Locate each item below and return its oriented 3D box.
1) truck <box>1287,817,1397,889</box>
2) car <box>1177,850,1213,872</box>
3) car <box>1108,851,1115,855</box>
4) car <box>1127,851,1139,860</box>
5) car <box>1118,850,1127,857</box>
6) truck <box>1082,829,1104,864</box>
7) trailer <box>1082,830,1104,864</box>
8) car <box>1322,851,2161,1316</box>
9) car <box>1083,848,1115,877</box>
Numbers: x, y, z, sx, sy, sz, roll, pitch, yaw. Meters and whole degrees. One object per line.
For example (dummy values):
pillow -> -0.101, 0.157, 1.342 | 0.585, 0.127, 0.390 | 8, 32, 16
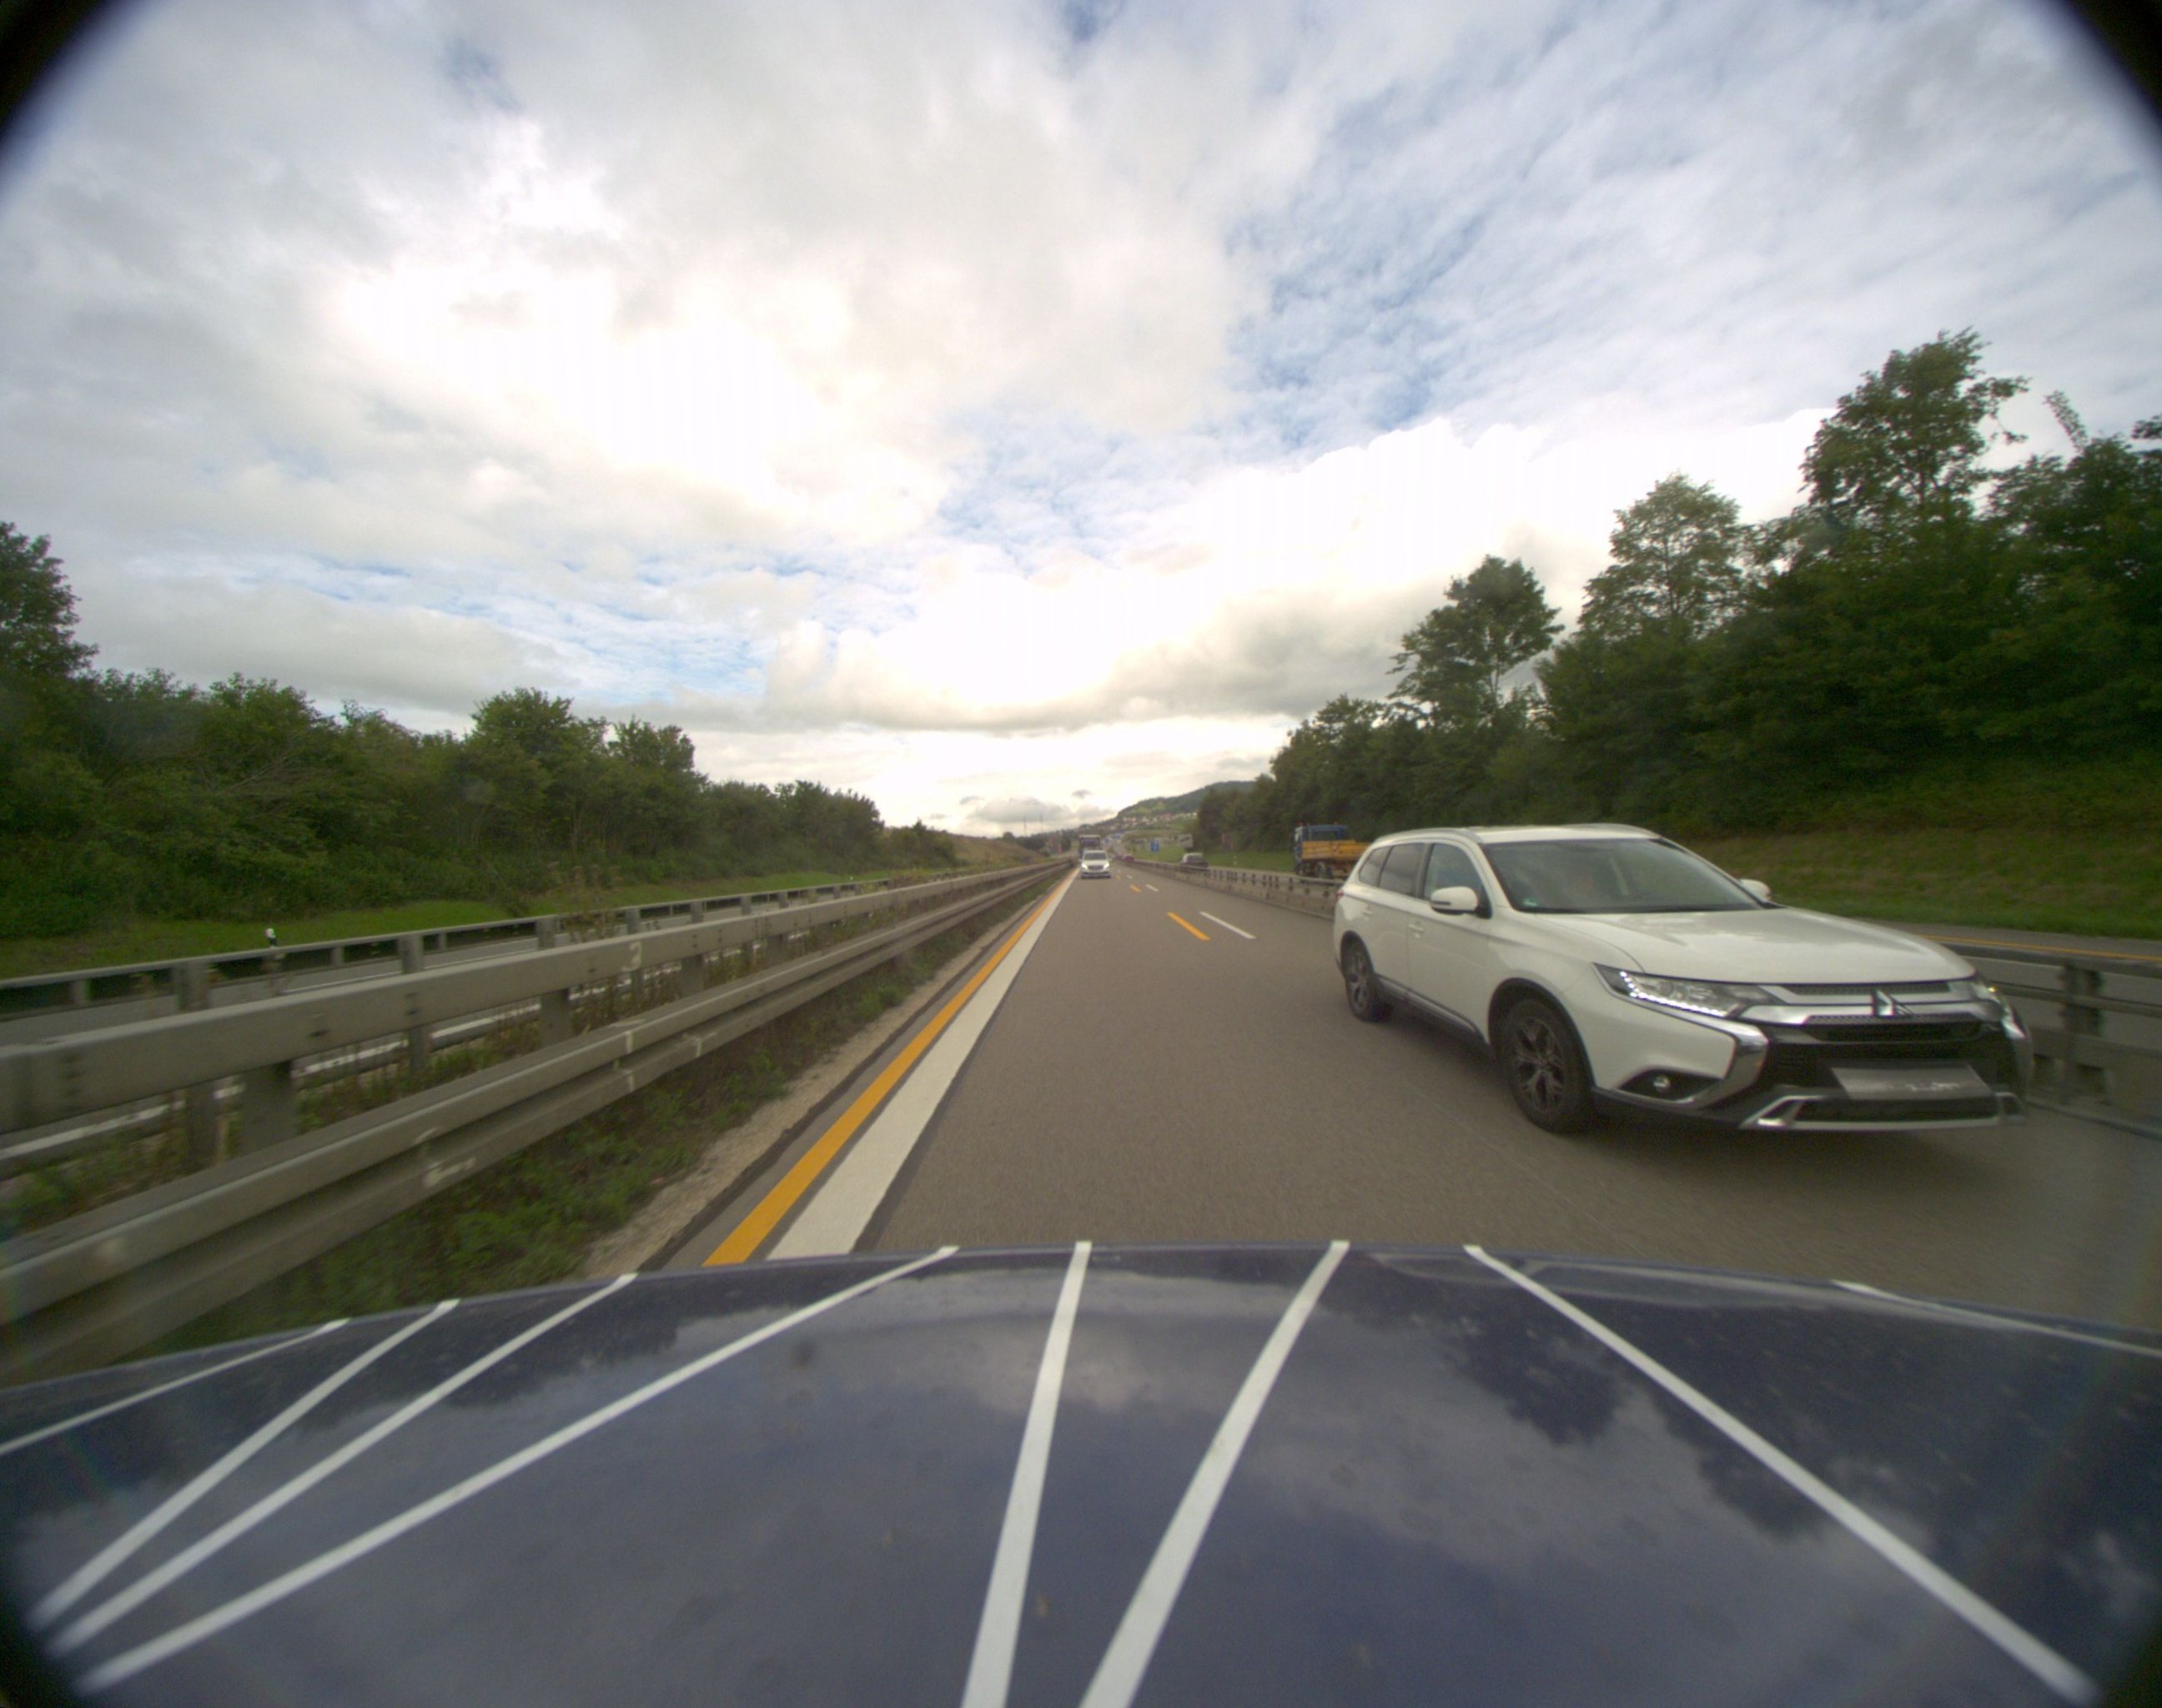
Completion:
truck -> 11.011, -0.063, 32.731 | 2.496, 2.702, 6.667 | -2, 0, 1
car -> 8.444, 0.494, 56.809 | 1.998, 1.498, 4.832 | -2, 0, 1
car -> 10.521, -0.391, 261.737 | 1.998, 1.512, 4.953 | -1, 0, 1
car -> 9.115, 0.302, 133.731 | 1.939, 1.482, 4.589 | -3, 0, 1
car -> 9.825, -0.155, 181.736 | 2.003, 1.490, 4.900 | -2, 0, 1
truck -> 1.472, -0.930, 93.418 | 2.521, 4.081, 5.685 | -2, 1, 1
trailer -> 1.586, -0.942, 98.673 | 2.521, 4.081, 11.113 | -2, 0, 1
car -> 3.266, 0.814, 4.986 | 1.998, 1.618, 4.607 | -1, 0, 2
car -> 1.161, 0.516, 50.754 | 1.991, 1.787, 4.586 | -2, 0, 1
